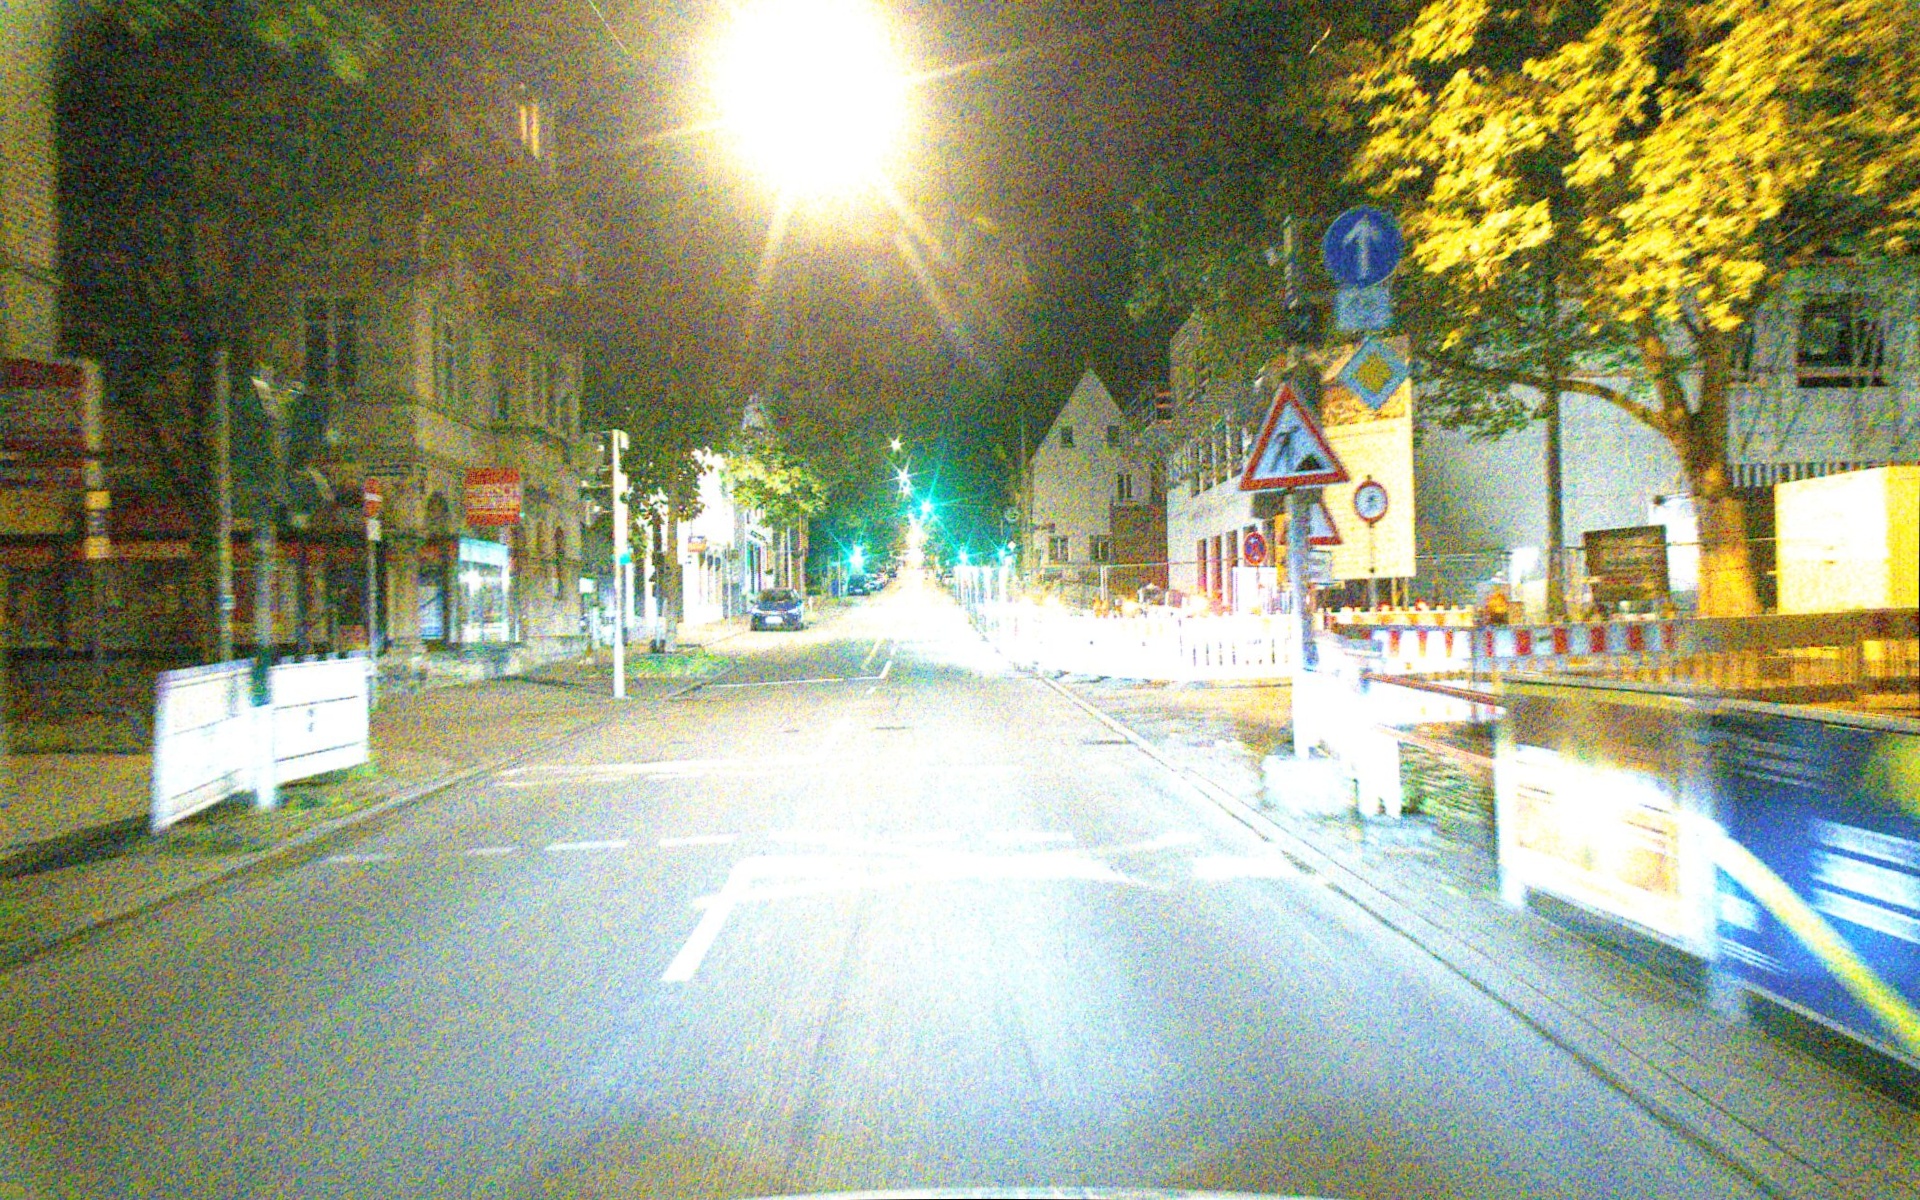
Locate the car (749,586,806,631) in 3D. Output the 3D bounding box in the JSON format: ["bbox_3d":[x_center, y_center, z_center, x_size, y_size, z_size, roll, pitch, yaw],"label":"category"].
[{"bbox_3d":[-6.514,0.277,59.318,1.637,1.468,4.204,-1,1,-1],"label":"car"}]

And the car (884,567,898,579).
[{"bbox_3d":[-10.749,-4.289,259.051,2.035,1.846,4.204,-1,1,0],"label":"car"}]

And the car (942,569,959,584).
[{"bbox_3d":[-1.064,-2.608,181.857,1.835,1.571,4.204,-1,1,-1],"label":"car"}]

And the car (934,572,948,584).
[{"bbox_3d":[-2.566,-2.957,220.772,1.835,1.571,4.204,-1,1,-1],"label":"car"}]

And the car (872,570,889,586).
[{"bbox_3d":[-9.309,-2.567,192.909,1.835,1.846,4.204,-1,1,-1],"label":"car"}]

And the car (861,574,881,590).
[{"bbox_3d":[-9.065,-1.890,168.758,1.835,1.571,4.204,-1,1,-1],"label":"car"}]

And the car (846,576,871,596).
[{"bbox_3d":[-8.025,-1.127,131.089,1.835,1.571,4.204,-1,1,-1],"label":"car"}]
